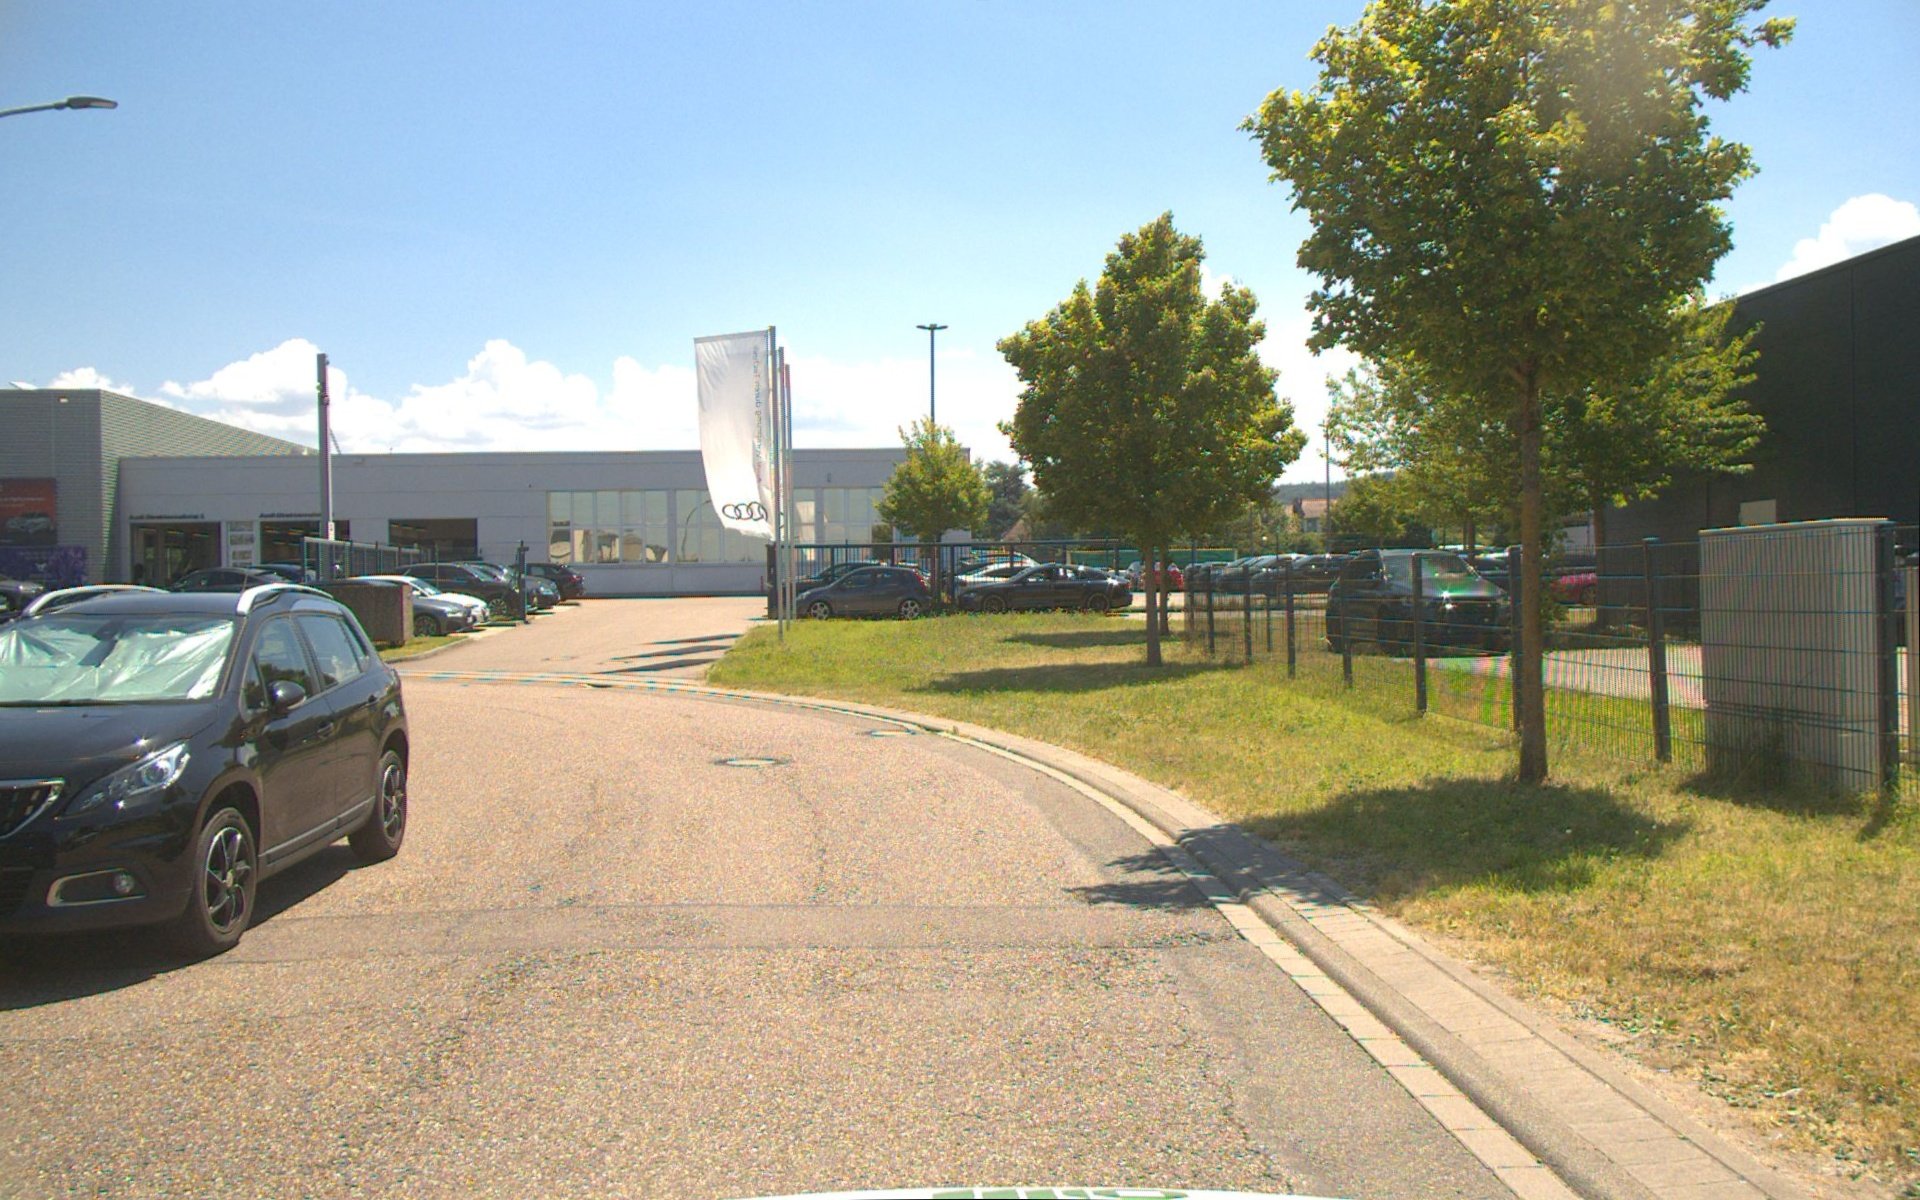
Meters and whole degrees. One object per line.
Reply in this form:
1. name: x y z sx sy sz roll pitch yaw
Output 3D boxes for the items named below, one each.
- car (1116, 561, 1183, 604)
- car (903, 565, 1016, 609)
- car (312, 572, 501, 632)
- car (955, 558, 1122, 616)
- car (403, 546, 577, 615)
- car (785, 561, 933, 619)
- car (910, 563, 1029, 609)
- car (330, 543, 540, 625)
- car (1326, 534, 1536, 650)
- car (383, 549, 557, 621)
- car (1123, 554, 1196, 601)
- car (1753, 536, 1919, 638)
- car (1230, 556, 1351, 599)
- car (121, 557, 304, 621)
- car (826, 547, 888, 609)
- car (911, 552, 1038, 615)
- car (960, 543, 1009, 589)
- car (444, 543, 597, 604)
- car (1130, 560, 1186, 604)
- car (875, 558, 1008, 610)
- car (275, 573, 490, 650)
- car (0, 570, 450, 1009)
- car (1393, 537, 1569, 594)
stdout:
1. car: 7.086 -0.631 62.166 1.953 1.423 3.998 -1 -2 -2
2. car: -0.043 -0.446 59.084 3.909 1.423 1.998 -1 -2 -4
3. car: -14.598 0.070 43.790 4.351 1.423 1.998 -1 -2 -4
4. car: 2.110 -0.339 45.473 4.351 1.423 1.998 -1 -2 -4
5. car: -14.509 -0.602 51.244 4.786 1.956 1.999 -2 0 -3
6. car: -2.756 -0.254 45.210 3.909 1.423 1.998 -1 -2 -4
7. car: 0.296 -0.470 56.500 3.909 1.423 1.998 -1 -2 -4
8. car: -14.684 -0.454 46.474 5.212 2.134 1.999 -2 0 -3
9. car: 6.901 -0.132 24.654 1.702 1.549 3.891 -2 1 -5
10. car: -14.400 -0.437 48.796 4.496 1.956 1.999 -2 0 -3
11. car: 6.930 -0.749 57.792 1.953 1.423 3.998 -1 -2 -2
12. car: 13.992 -0.233 25.330 1.702 1.431 3.694 -2 1 -4
13. car: 12.054 -0.812 60.430 3.909 1.423 1.998 -1 -2 -4
14. car: -21.469 -0.306 47.669 4.351 1.655 1.998 -1 -2 -4
15. car: -3.458 -0.707 55.235 1.954 1.859 3.996 -1 -2 -5
16. car: 0.438 -0.529 53.455 3.909 1.859 1.998 -1 -2 -4
17. car: 1.066 -1.523 75.034 1.954 1.859 3.997 -1 -2 -3
18. car: -15.240 -0.916 57.585 4.786 1.956 1.999 -2 0 -3
19. car: 9.271 -0.840 77.743 1.954 1.859 3.997 -1 -2 -3
20. car: -0.602 -0.472 50.201 3.909 1.423 1.998 -1 -2 -4
21. car: -13.491 0.283 38.847 4.351 1.655 1.998 -1 -2 -4
22. car: -4.001 0.702 8.086 1.797 1.573 4.262 -2 0 -2
23. car: 14.853 -0.972 47.314 4.351 1.423 1.998 -1 -2 -4
